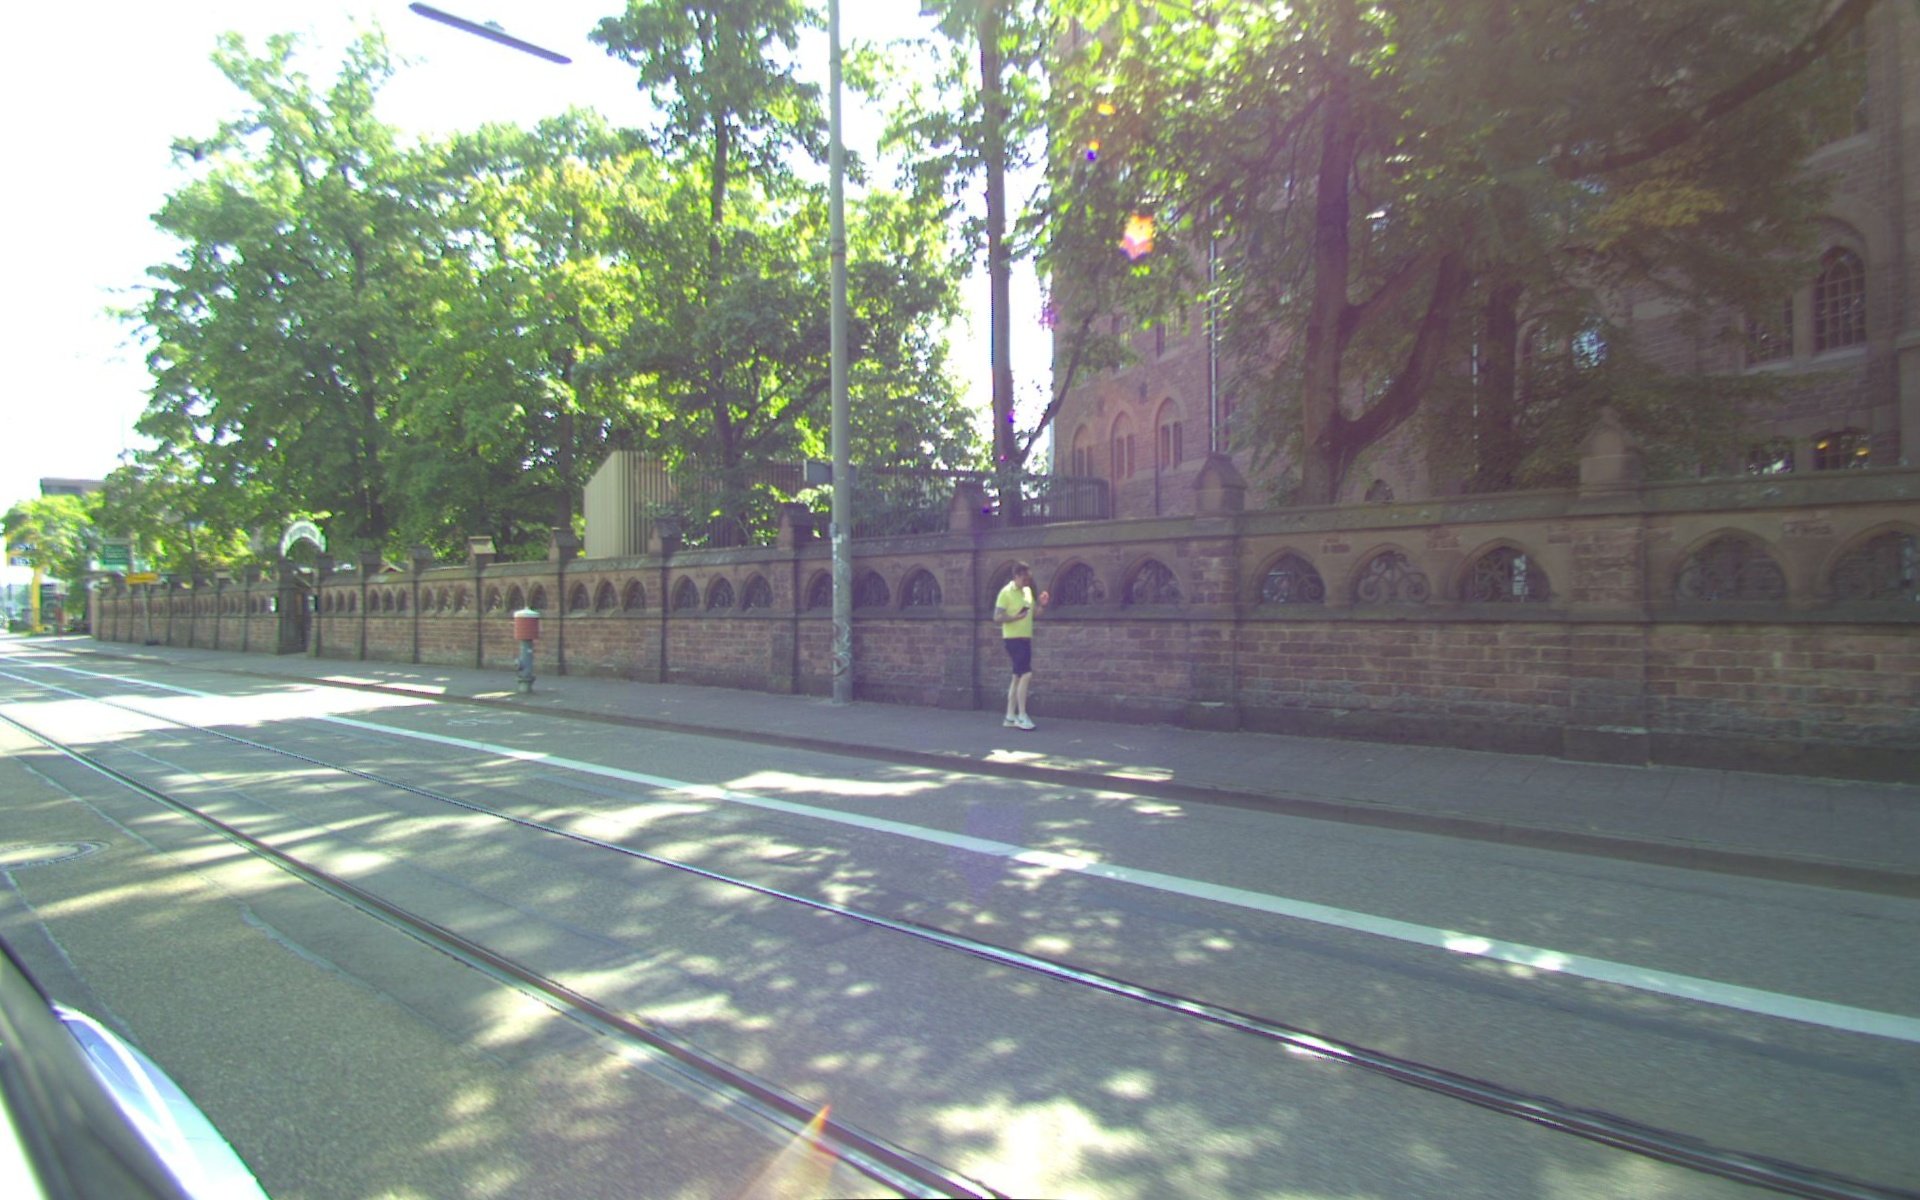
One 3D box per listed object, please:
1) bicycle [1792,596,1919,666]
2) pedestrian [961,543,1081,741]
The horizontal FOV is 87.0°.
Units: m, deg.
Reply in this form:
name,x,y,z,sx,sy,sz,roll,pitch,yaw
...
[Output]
name,x,y,z,sx,sy,sz,roll,pitch,yaw
bicycle,15.650,0.510,17.352,2.642,1.105,0.904,-1,0,-20
pedestrian,0.667,0.432,11.036,0.982,2.029,0.855,-1,0,39
